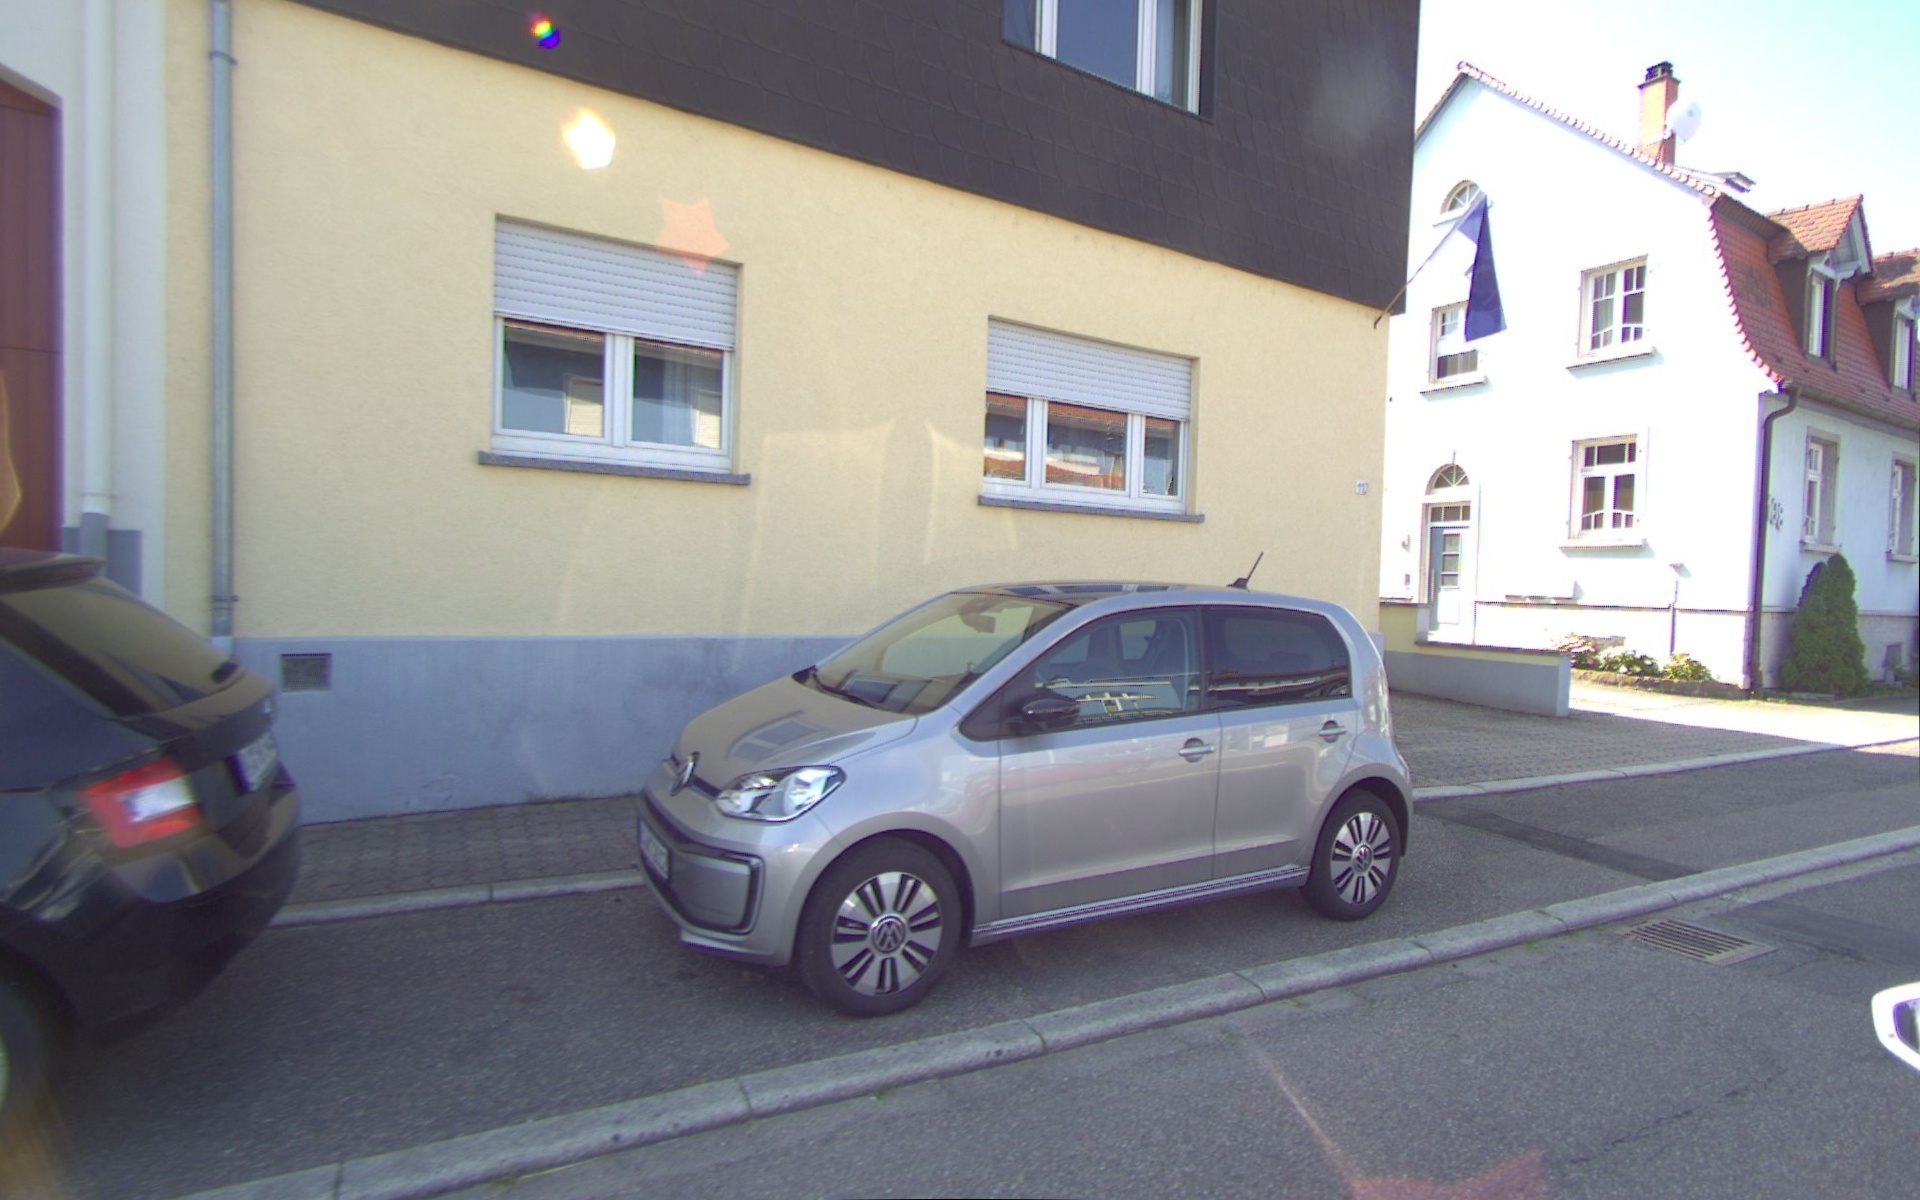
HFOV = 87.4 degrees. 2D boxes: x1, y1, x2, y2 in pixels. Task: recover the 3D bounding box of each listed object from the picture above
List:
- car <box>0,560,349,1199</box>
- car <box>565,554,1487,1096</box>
[{"bbox_3d":[-3.759,0.631,2.252,3.946,1.456,1.671,2,4,-28],"label":"car"},{"bbox_3d":[0.352,0.657,4.446,3.734,1.521,1.633,2,3,-28],"label":"car"}]
